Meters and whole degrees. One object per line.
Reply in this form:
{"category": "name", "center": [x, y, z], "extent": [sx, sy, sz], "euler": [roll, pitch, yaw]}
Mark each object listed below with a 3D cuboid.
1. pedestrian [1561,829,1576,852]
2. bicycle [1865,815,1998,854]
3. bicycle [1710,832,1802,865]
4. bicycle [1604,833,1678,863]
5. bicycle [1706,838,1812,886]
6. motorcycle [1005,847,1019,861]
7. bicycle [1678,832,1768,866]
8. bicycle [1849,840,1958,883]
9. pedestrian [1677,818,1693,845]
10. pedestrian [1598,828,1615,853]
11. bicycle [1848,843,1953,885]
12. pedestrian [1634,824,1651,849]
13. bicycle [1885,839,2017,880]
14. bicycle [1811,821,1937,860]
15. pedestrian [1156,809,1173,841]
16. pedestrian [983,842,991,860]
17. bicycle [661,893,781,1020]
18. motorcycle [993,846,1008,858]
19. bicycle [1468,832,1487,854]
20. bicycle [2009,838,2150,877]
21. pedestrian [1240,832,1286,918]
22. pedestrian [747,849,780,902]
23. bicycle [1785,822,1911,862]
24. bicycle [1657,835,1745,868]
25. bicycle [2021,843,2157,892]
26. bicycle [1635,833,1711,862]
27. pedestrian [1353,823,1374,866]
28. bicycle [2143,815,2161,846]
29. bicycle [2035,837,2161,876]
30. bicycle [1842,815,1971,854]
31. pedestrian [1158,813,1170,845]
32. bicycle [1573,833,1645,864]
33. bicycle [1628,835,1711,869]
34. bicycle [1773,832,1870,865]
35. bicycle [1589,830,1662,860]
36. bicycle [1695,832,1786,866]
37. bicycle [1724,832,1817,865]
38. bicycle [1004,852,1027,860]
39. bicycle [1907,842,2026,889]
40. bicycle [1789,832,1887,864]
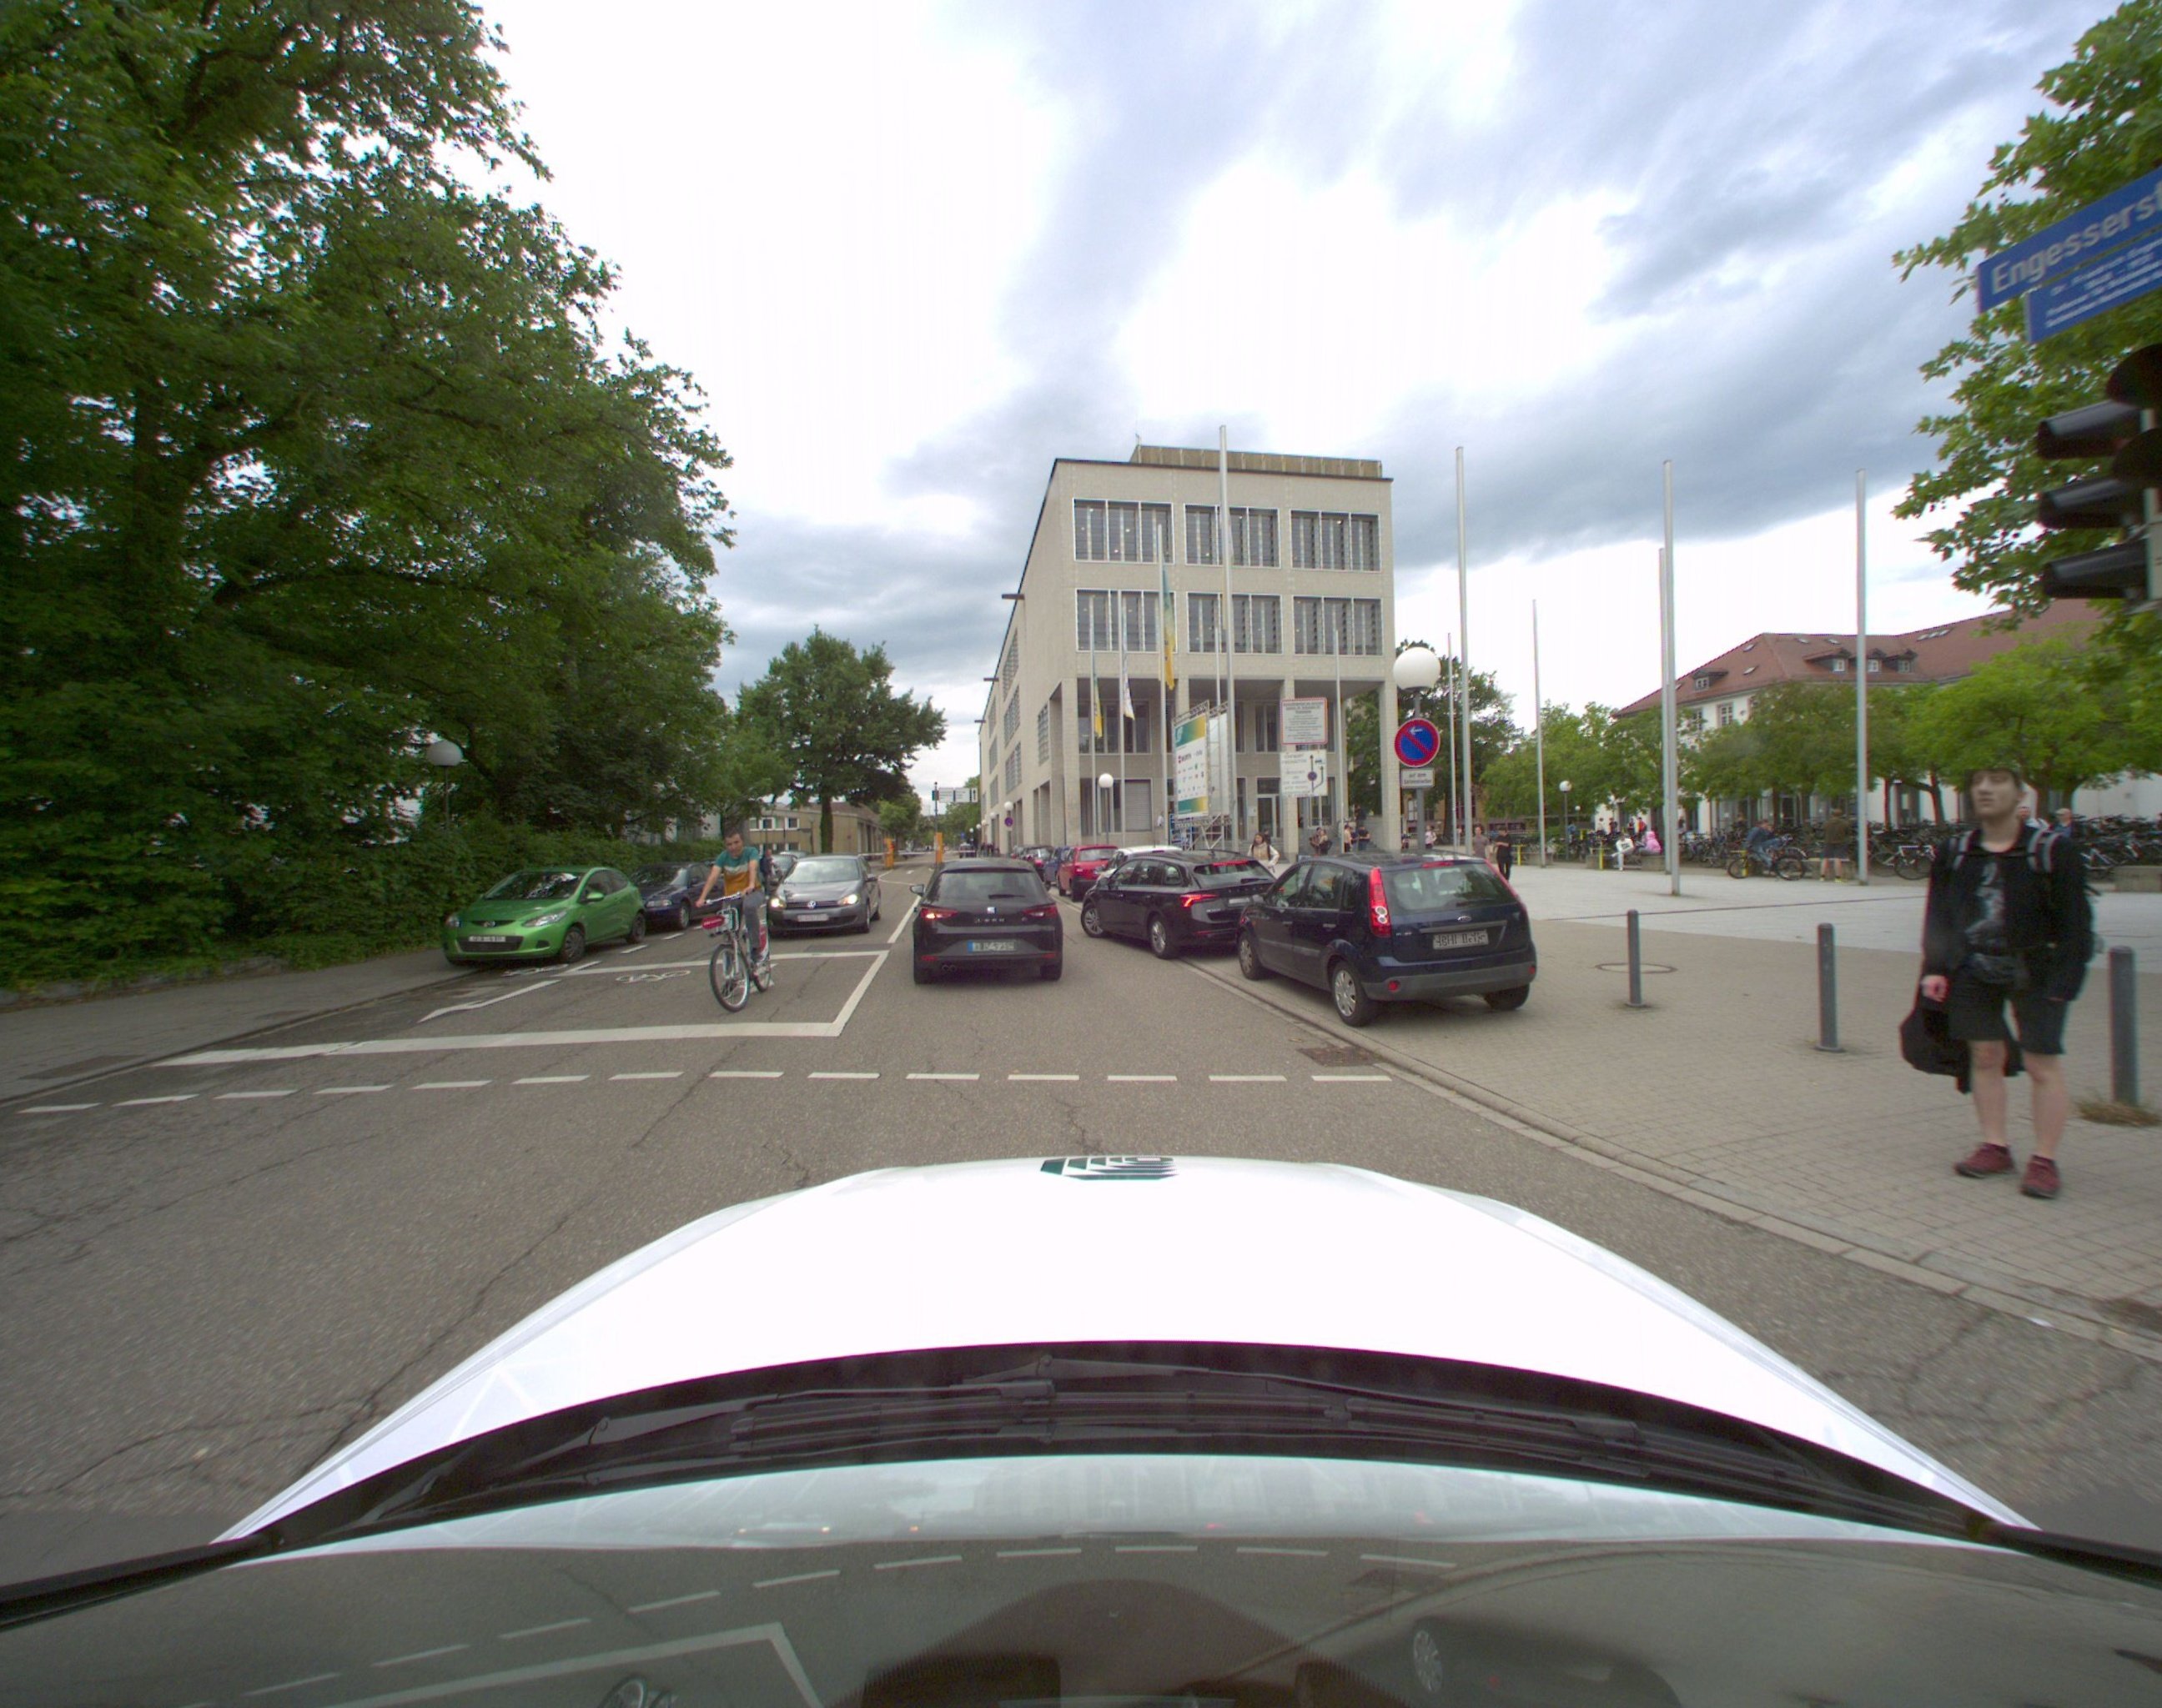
{"category": "pedestrian", "center": [34.860, -0.956, 58.256], "extent": [0.657, 1.641, 0.667], "euler": [-1, 0, 4]}
{"category": "bicycle", "center": [27.460, -0.665, 26.413], "extent": [0.745, 1.169, 3.100], "euler": [0, 3, -8]}
{"category": "bicycle", "center": [26.586, -0.236, 32.185], "extent": [0.745, 1.169, 3.101], "euler": [0, 3, -7]}
{"category": "bicycle", "center": [24.234, -0.301, 35.357], "extent": [0.745, 1.169, 3.100], "euler": [0, 3, -8]}
{"category": "bicycle", "center": [18.477, 0.191, 22.275], "extent": [0.456, 1.169, 2.403], "euler": [0, 3, -14]}
{"category": "motorcycle", "center": [-6.213, -0.028, 73.761], "extent": [0.561, 1.148, 2.226], "euler": [1, 3, 15]}
{"category": "bicycle", "center": [25.064, -0.229, 31.910], "extent": [0.745, 1.169, 3.100], "euler": [0, 3, -8]}
{"category": "bicycle", "center": [20.832, 0.172, 20.676], "extent": [0.458, 1.049, 1.920], "euler": [-2, 1, -24]}
{"category": "pedestrian", "center": [36.789, -1.382, 49.593], "extent": [0.654, 1.641, 0.670], "euler": [-2, 0, 43]}
{"category": "pedestrian", "center": [35.653, -0.904, 55.263], "extent": [0.661, 1.641, 0.663], "euler": [-1, 0, -13]}
{"category": "bicycle", "center": [21.472, 0.237, 21.392], "extent": [0.458, 1.049, 1.921], "euler": [-2, 1, -23]}
{"category": "pedestrian", "center": [37.443, -1.193, 54.337], "extent": [0.661, 1.641, 0.663], "euler": [-1, 0, -12]}
{"category": "bicycle", "center": [28.550, 0.133, 26.839], "extent": [0.745, 1.169, 3.100], "euler": [0, 3, -8]}
{"category": "bicycle", "center": [25.275, -0.431, 26.079], "extent": [0.745, 1.170, 3.100], "euler": [-1, 1, -8]}
{"category": "pedestrian", "center": [4.352, -1.530, 42.365], "extent": [0.798, 1.658, 0.634], "euler": [1, 3, 15]}
{"category": "pedestrian", "center": [-8.876, -0.271, 76.822], "extent": [0.610, 1.714, 0.574], "euler": [-2, 1, -4]}
{"category": "bicycle", "center": [-3.613, 0.973, 8.340], "extent": [0.657, 1.037, 1.851], "euler": [-2, 0, -10]}
{"category": "motorcycle", "center": [-8.877, -0.215, 90.081], "extent": [0.754, 1.148, 2.674], "euler": [1, 3, 15]}
{"category": "bicycle", "center": [20.178, -0.556, 41.487], "extent": [0.865, 1.093, 1.812], "euler": [0, 1, 25]}
{"category": "bicycle", "center": [33.917, 0.067, 27.768], "extent": [0.745, 1.169, 3.100], "euler": [0, 3, -8]}
{"category": "pedestrian", "center": [3.866, 0.435, 17.374], "extent": [0.788, 1.787, 0.822], "euler": [-1, 0, 2]}
{"category": "pedestrian", "center": [-10.468, 0.697, 26.885], "extent": [0.738, 1.661, 0.965], "euler": [-2, 2, -8]}
{"category": "bicycle", "center": [24.150, -0.409, 25.764], "extent": [0.745, 1.169, 3.100], "euler": [0, 3, -8]}
{"category": "bicycle", "center": [24.150, -0.129, 31.825], "extent": [0.745, 1.169, 3.100], "euler": [0, 3, -8]}
{"category": "bicycle", "center": [22.893, 0.275, 18.552], "extent": [0.456, 1.049, 1.926], "euler": [-2, 1, -14]}
{"category": "bicycle", "center": [26.030, -0.320, 35.891], "extent": [0.745, 1.169, 3.100], "euler": [0, 3, -8]}
{"category": "pedestrian", "center": [12.595, -0.419, 36.278], "extent": [0.596, 1.865, 0.784], "euler": [-2, 0, 39]}
{"category": "bicycle", "center": [40.204, -0.811, 28.894], "extent": [0.745, 1.169, 3.100], "euler": [0, 3, -8]}
{"category": "bicycle", "center": [35.092, 0.062, 27.972], "extent": [0.745, 1.169, 3.100], "euler": [0, 3, -8]}
{"category": "bicycle", "center": [26.451, -0.597, 26.216], "extent": [0.745, 1.170, 3.100], "euler": [-1, 1, -8]}
{"category": "pedestrian", "center": [4.399, -1.327, 43.301], "extent": [0.626, 1.658, 0.809], "euler": [0, 2, 6]}
{"category": "bicycle", "center": [22.686, -0.262, 35.096], "extent": [0.745, 1.169, 3.100], "euler": [0, 3, -8]}
{"category": "bicycle", "center": [22.721, -0.121, 31.530], "extent": [0.619, 1.169, 3.100], "euler": [0, 3, -8]}
{"category": "bicycle", "center": [29.770, -0.255, 32.844], "extent": [0.745, 1.169, 3.099], "euler": [0, 3, -9]}
{"category": "bicycle", "center": [23.464, -0.409, 35.208], "extent": [0.745, 1.169, 3.100], "euler": [0, 3, -8]}
{"category": "bicycle", "center": [25.838, -0.230, 32.007], "extent": [0.745, 1.169, 3.100], "euler": [0, 3, -8]}
{"category": "bicycle", "center": [27.346, -0.242, 32.383], "extent": [0.745, 1.169, 3.100], "euler": [0, 3, -8]}
{"category": "bicycle", "center": [-5.674, 0.186, 70.642], "extent": [1.899, 0.698, 0.491], "euler": [0, 3, -14]}
{"category": "bicycle", "center": [20.889, 0.241, 19.264], "extent": [0.456, 1.049, 1.926], "euler": [-2, 1, -14]}
{"category": "bicycle", "center": [30.539, -0.257, 32.954], "extent": [0.745, 1.169, 3.099], "euler": [0, 3, -9]}
